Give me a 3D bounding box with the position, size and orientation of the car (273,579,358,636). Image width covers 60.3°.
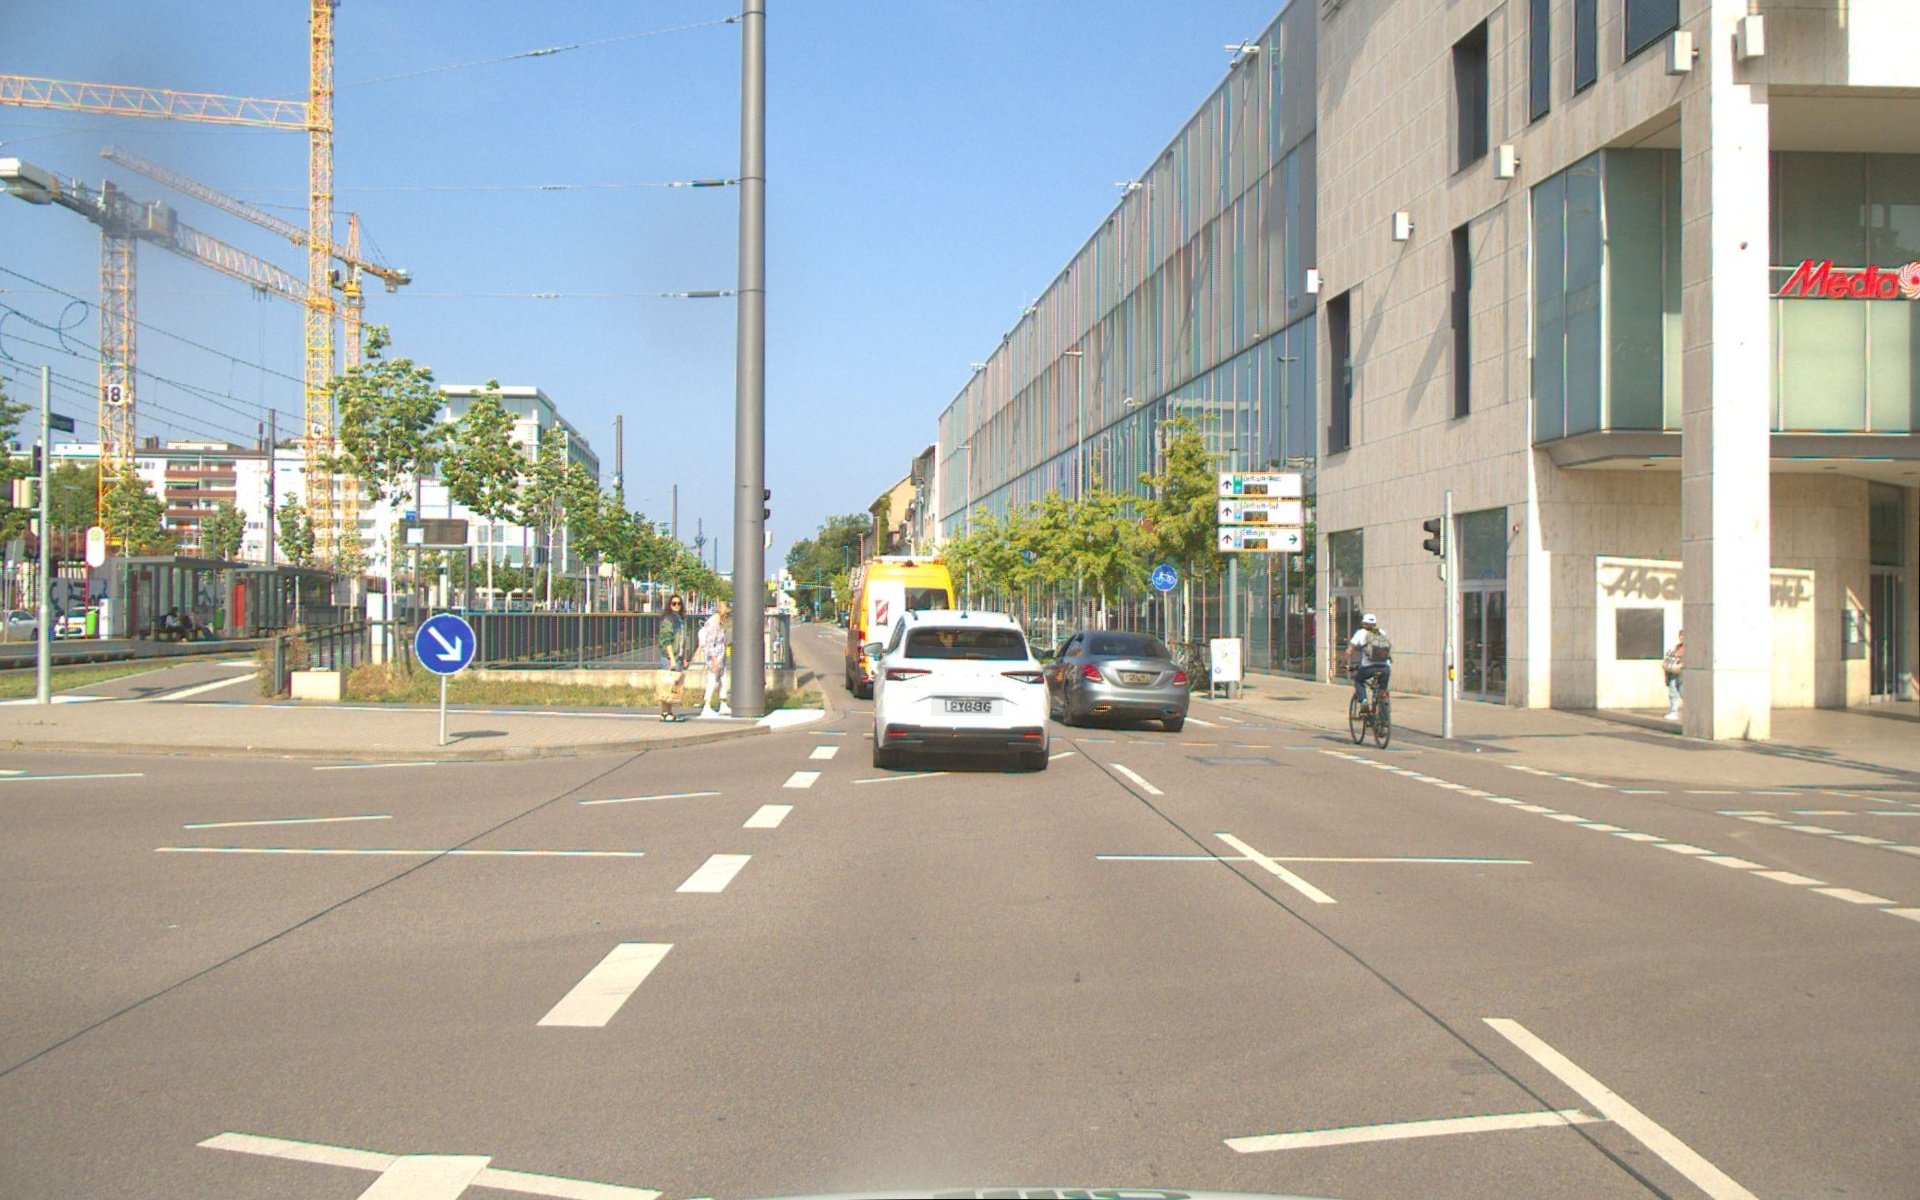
[{"bbox_3d":[-42.892,0.563,110.374,2.996,3.574,9.219,1,-1,-7],"label":"car"}]

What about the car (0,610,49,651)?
[{"bbox_3d":[-38.558,1.197,66.337,1.757,1.609,4.611,0,-1,-5],"label":"car"}]

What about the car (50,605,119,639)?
[{"bbox_3d":[-39.888,0.996,75.430,1.565,1.489,3.429,1,-1,-6],"label":"car"}]

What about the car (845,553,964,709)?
[{"bbox_3d":[-1.199,0.571,32.997,1.981,2.845,5.393,1,0,-6],"label":"car"}]

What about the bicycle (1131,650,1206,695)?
[{"bbox_3d":[5.382,1.867,42.735,1.841,1.129,0.490,1,-1,-5],"label":"bicycle"}]

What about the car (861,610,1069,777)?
[{"bbox_3d":[-0.065,0.926,17.948,1.834,1.602,3.994,1,-1,-6],"label":"car"}]

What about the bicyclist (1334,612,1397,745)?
[{"bbox_3d":[5.540,1.060,22.612,0.638,1.779,0.769,0,-1,-4],"label":"bicyclist"}]

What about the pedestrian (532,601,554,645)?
[{"bbox_3d":[-15.785,0.876,62.605,0.722,1.647,0.709,1,-1,-7],"label":"pedestrian"}]

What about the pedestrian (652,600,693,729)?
[{"bbox_3d":[-3.799,0.845,21.889,0.458,1.679,0.776,1,-1,-6],"label":"pedestrian"}]

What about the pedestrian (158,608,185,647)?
[{"bbox_3d":[-26.368,0.915,55.329,0.668,1.323,0.591,0,-1,-10],"label":"pedestrian"}]

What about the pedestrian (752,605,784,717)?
[{"bbox_3d":[-2.931,0.922,25.264,0.458,1.679,0.776,1,-1,-6],"label":"pedestrian"}]

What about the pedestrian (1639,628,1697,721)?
[{"bbox_3d":[11.749,1.234,27.463,0.693,1.513,0.604,0,-1,-4],"label":"pedestrian"}]

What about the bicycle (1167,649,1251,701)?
[{"bbox_3d":[5.802,1.737,38.585,1.803,1.132,0.686,2,-1,-5],"label":"bicycle"}]

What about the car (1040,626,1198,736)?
[{"bbox_3d":[2.344,1.172,25.362,1.726,1.461,4.111,2,-1,-4],"label":"car"}]

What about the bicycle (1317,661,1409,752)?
[{"bbox_3d":[5.527,1.437,22.806,0.648,1.137,2.049,0,-1,-4],"label":"bicycle"}]

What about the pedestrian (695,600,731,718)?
[{"bbox_3d":[-3.584,0.851,23.995,0.458,1.679,0.776,1,-1,-6],"label":"pedestrian"}]

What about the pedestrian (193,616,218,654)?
[{"bbox_3d":[-26.636,1.226,58.406,0.668,1.323,0.591,0,-1,-10],"label":"pedestrian"}]
